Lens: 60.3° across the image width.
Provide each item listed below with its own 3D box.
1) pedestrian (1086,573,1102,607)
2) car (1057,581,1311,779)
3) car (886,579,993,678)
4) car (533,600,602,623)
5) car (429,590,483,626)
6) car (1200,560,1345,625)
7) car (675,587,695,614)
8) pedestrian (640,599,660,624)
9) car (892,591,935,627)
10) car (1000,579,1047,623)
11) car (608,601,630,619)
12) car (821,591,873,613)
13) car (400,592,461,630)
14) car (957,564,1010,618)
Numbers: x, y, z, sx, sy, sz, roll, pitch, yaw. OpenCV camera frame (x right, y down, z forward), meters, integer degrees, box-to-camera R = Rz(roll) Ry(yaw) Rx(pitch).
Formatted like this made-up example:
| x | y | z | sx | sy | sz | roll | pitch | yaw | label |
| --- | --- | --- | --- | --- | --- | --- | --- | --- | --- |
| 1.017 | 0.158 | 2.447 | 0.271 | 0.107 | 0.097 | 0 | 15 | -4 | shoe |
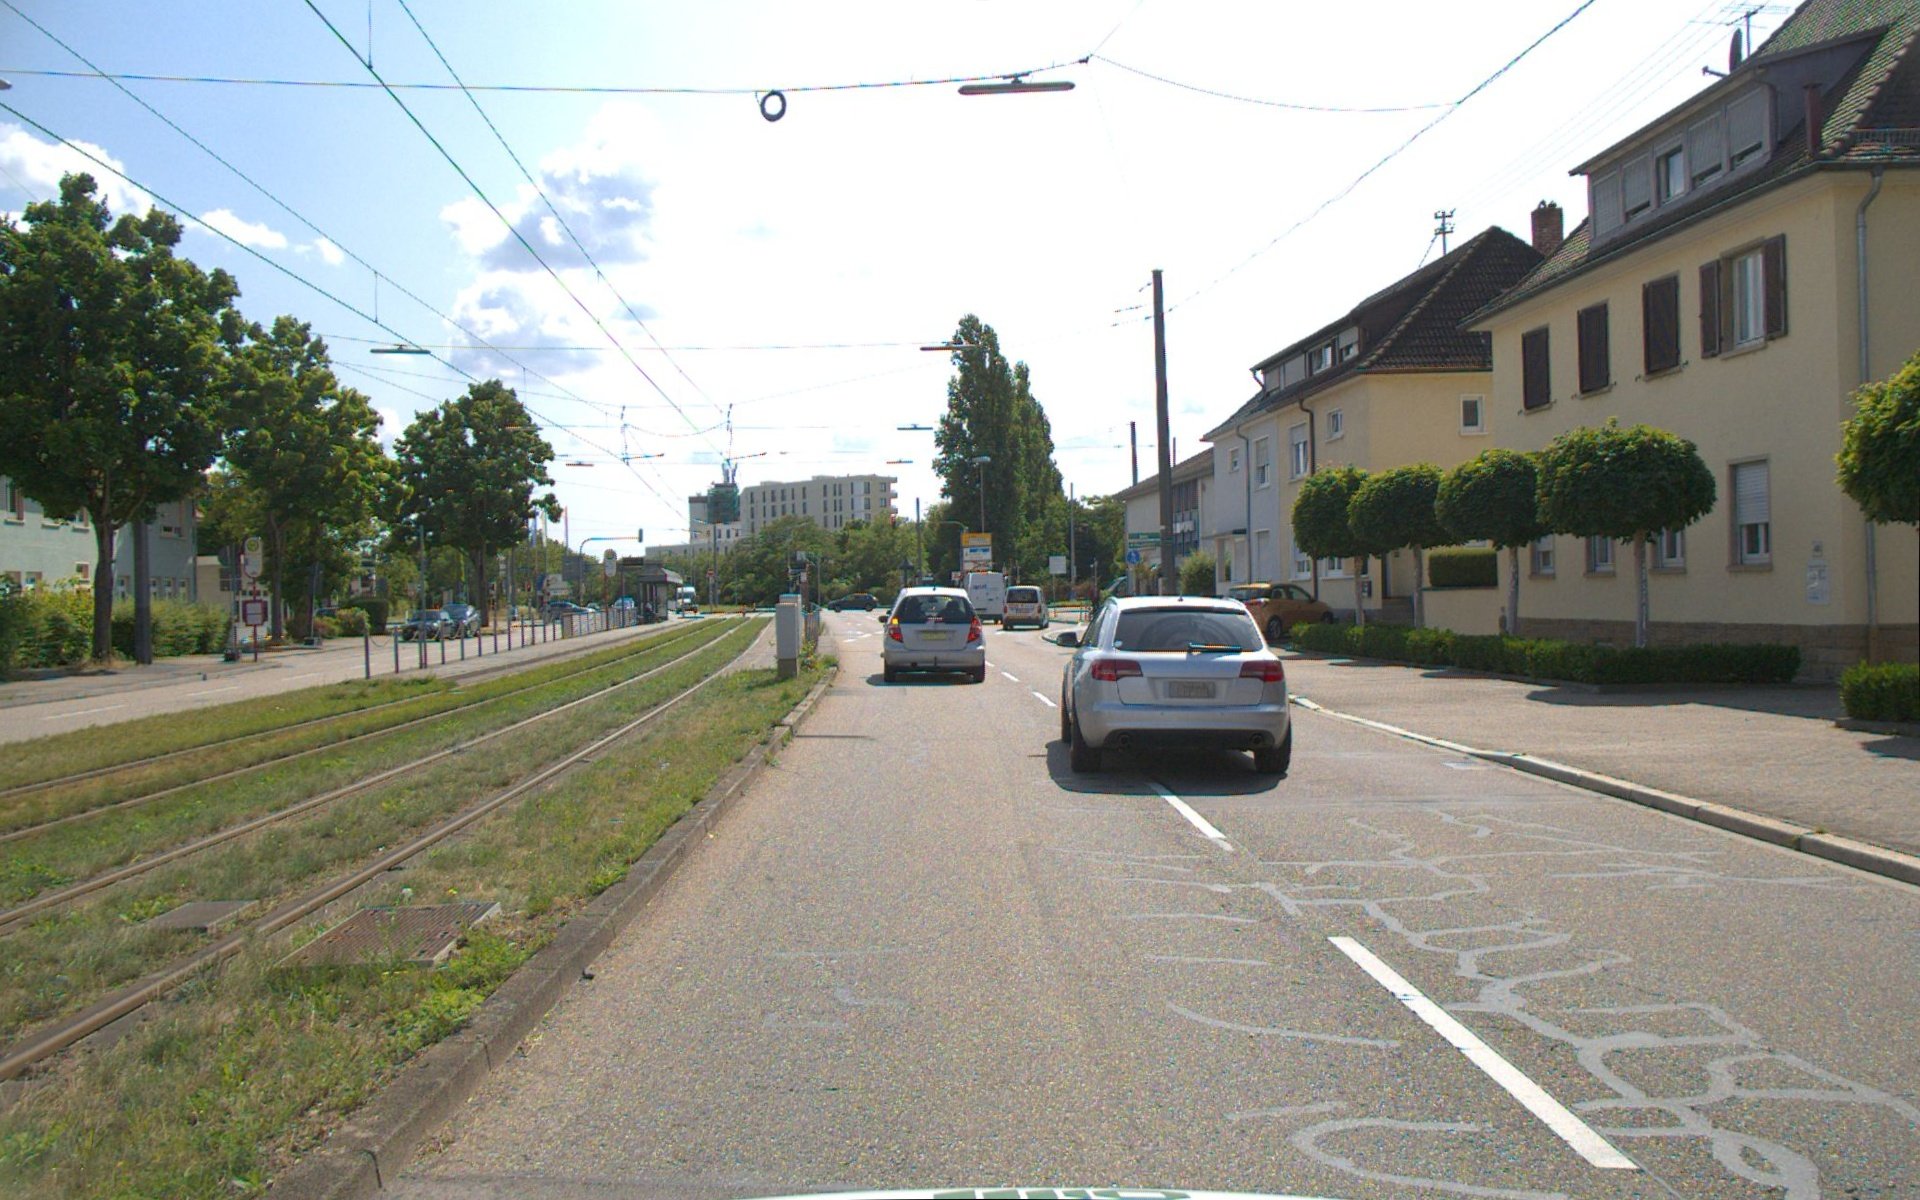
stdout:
| x | y | z | sx | sy | sz | roll | pitch | yaw | label |
| --- | --- | --- | --- | --- | --- | --- | --- | --- | --- |
| 7.326 | -0.544 | 90.386 | 0.707 | 1.813 | 0.702 | -4 | 1 | -3 | pedestrian |
| 1.896 | 0.604 | 15.269 | 1.816 | 1.518 | 4.537 | -1 | 1 | 1 | car |
| -0.423 | 0.446 | 29.372 | 1.751 | 1.604 | 4.092 | 1 | 1 | -3 | car |
| -29.715 | 0.837 | 125.314 | 4.765 | 1.689 | 1.999 | 0 | 0 | -3 | car |
| -25.021 | 0.384 | 82.275 | 2.024 | 1.642 | 4.740 | -2 | 1 | -11 | car |
| 8.379 | -0.235 | 44.178 | 1.883 | 1.483 | 4.066 | 0 | 3 | 44 | car |
| -27.524 | 0.079 | 165.456 | 1.957 | 2.651 | 4.867 | 0 | 0 | -10 | car |
| -17.432 | 0.659 | 92.920 | 1.038 | 1.400 | 0.859 | 0 | 0 | -6 | pedestrian |
| -2.067 | 0.388 | 73.360 | 1.847 | 1.557 | 4.092 | 0 | 0 | -2 | car |
| 2.709 | 0.018 | 69.749 | 1.845 | 1.761 | 4.096 | -2 | 1 | 4 | car |
| -32.208 | 0.921 | 156.190 | 1.828 | 1.680 | 3.991 | 0 | 0 | -10 | car |
| -9.349 | 0.153 | 136.970 | 4.266 | 1.769 | 1.999 | 1 | 0 | -3 | car |
| -24.321 | 0.467 | 76.087 | 1.751 | 1.611 | 3.928 | -2 | 1 | -4 | car |
| 1.152 | -0.475 | 84.188 | 2.002 | 2.602 | 5.225 | -2 | 1 | -6 | car |
